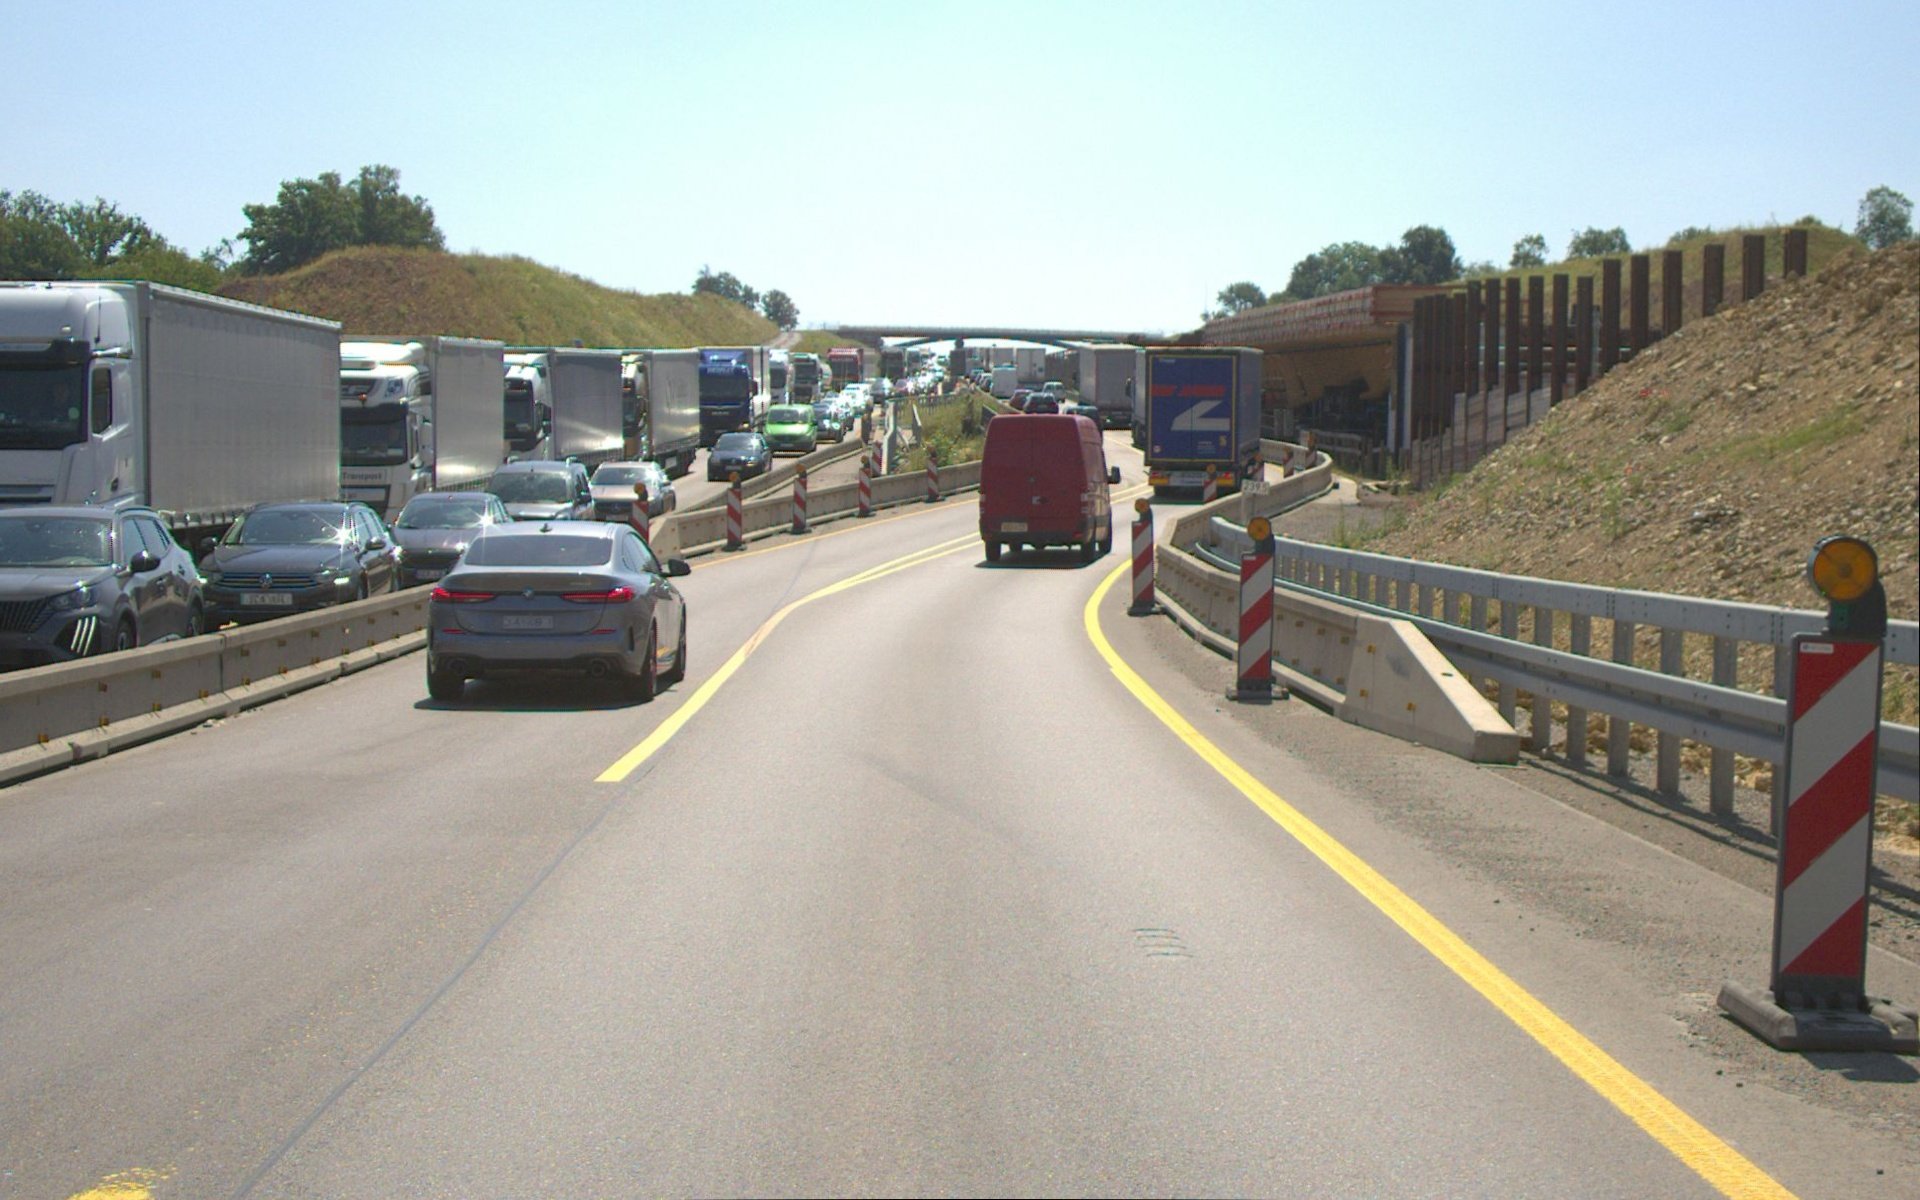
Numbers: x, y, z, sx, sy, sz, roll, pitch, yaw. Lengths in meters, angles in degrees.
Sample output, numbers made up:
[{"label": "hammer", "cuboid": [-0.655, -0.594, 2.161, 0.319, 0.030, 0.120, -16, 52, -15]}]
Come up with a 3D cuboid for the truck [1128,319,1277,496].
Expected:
[{"label": "truck", "cuboid": [6.816, -5.282, 95.728, 3.022, 4.676, 6.929, -1, 2, 13]}]

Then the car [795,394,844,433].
[{"label": "car", "cuboid": [-5.983, -7.947, 146.910, 1.952, 1.525, 4.268, 0, 1, 0]}]

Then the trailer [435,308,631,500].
[{"label": "trailer", "cuboid": [-10.666, -4.809, 87.297, 3.042, 4.536, 12.127, 0, 2, 2]}]

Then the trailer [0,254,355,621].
[{"label": "trailer", "cuboid": [-10.498, -2.045, 46.102, 2.595, 4.242, 12.468, 0, 1, 0]}]

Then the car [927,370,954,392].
[{"label": "car", "cuboid": [-1.442, -16.320, 256.196, 1.952, 1.525, 4.268, 0, 1, 0]}]

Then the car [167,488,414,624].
[{"label": "car", "cuboid": [-7.495, -0.542, 38.935, 1.902, 1.371, 4.547, -2, 2, -1]}]

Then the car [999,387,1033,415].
[{"label": "car", "cuboid": [3.485, -12.390, 214.520, 1.952, 1.525, 4.268, 0, 1, 0]}]

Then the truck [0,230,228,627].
[{"label": "truck", "cuboid": [-10.522, -1.893, 39.854, 2.551, 4.216, 6.530, 0, 1, 1]}]

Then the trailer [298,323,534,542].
[{"label": "trailer", "cuboid": [-10.553, -3.133, 67.861, 2.783, 3.918, 11.008, 0, 1, 1]}]

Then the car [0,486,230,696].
[{"label": "car", "cuboid": [-7.310, -0.118, 27.810, 1.827, 1.530, 4.547, -2, 2, -1]}]

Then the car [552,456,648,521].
[{"label": "car", "cuboid": [-7.970, -2.456, 76.405, 1.747, 1.404, 4.000, 0, 1, 0]}]

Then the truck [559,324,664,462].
[{"label": "truck", "cuboid": [-10.288, -6.073, 102.036, 2.683, 3.826, 7.387, 0, 1, -2]}]

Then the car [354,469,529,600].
[{"label": "car", "cuboid": [-7.311, -0.945, 48.823, 1.993, 1.777, 4.001, 0, 1, -2]}]

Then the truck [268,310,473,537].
[{"label": "truck", "cuboid": [-10.596, -3.111, 62.274, 2.782, 3.856, 5.461, 0, 0, 0]}]

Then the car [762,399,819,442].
[{"label": "car", "cuboid": [-6.392, -6.780, 129.956, 1.952, 1.525, 4.268, 0, 1, 0]}]

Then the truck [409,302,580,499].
[{"label": "truck", "cuboid": [-10.897, -4.613, 81.026, 3.052, 4.465, 5.980, 0, 2, 2]}]

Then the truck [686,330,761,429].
[{"label": "truck", "cuboid": [-9.861, -9.169, 144.020, 2.887, 3.826, 8.003, 0, 1, -2]}]

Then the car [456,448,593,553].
[{"label": "car", "cuboid": [-7.574, -1.735, 60.158, 1.993, 1.777, 4.001, 0, 1, -2]}]

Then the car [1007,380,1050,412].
[{"label": "car", "cuboid": [3.739, -11.077, 187.038, 2.288, 1.525, 4.358, -1, 1, 2]}]

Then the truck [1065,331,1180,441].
[{"label": "truck", "cuboid": [8.311, -10.985, 178.169, 5.160, 4.980, 13.877, -2, 1, 0]}]

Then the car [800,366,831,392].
[{"label": "car", "cuboid": [-9.394, -14.381, 223.714, 1.952, 1.525, 4.268, 0, 1, -1]}]

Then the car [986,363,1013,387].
[{"label": "car", "cuboid": [2.931, -16.843, 257.106, 1.952, 1.635, 4.268, 0, 1, 0]}]

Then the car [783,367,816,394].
[{"label": "car", "cuboid": [-10.122, -13.873, 217.127, 1.952, 1.525, 4.268, 0, 1, -1]}]

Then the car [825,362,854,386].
[{"label": "car", "cuboid": [-8.577, -16.081, 244.703, 1.952, 1.525, 4.268, 0, 1, -1]}]

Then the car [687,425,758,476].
[{"label": "car", "cuboid": [-7.476, -4.709, 108.490, 1.952, 1.525, 4.268, 0, 1, 0]}]

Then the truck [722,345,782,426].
[{"label": "truck", "cuboid": [-10.639, -10.942, 176.225, 2.887, 3.826, 8.003, 0, 1, -2]}]

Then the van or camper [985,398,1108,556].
[{"label": "van or camper", "cuboid": [1.610, -2.213, 62.331, 2.029, 2.735, 4.515, 1, 2, 4]}]

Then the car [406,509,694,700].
[{"label": "car", "cuboid": [-3.323, 0.011, 28.703, 1.851, 1.447, 4.742, 1, 1, 0]}]
